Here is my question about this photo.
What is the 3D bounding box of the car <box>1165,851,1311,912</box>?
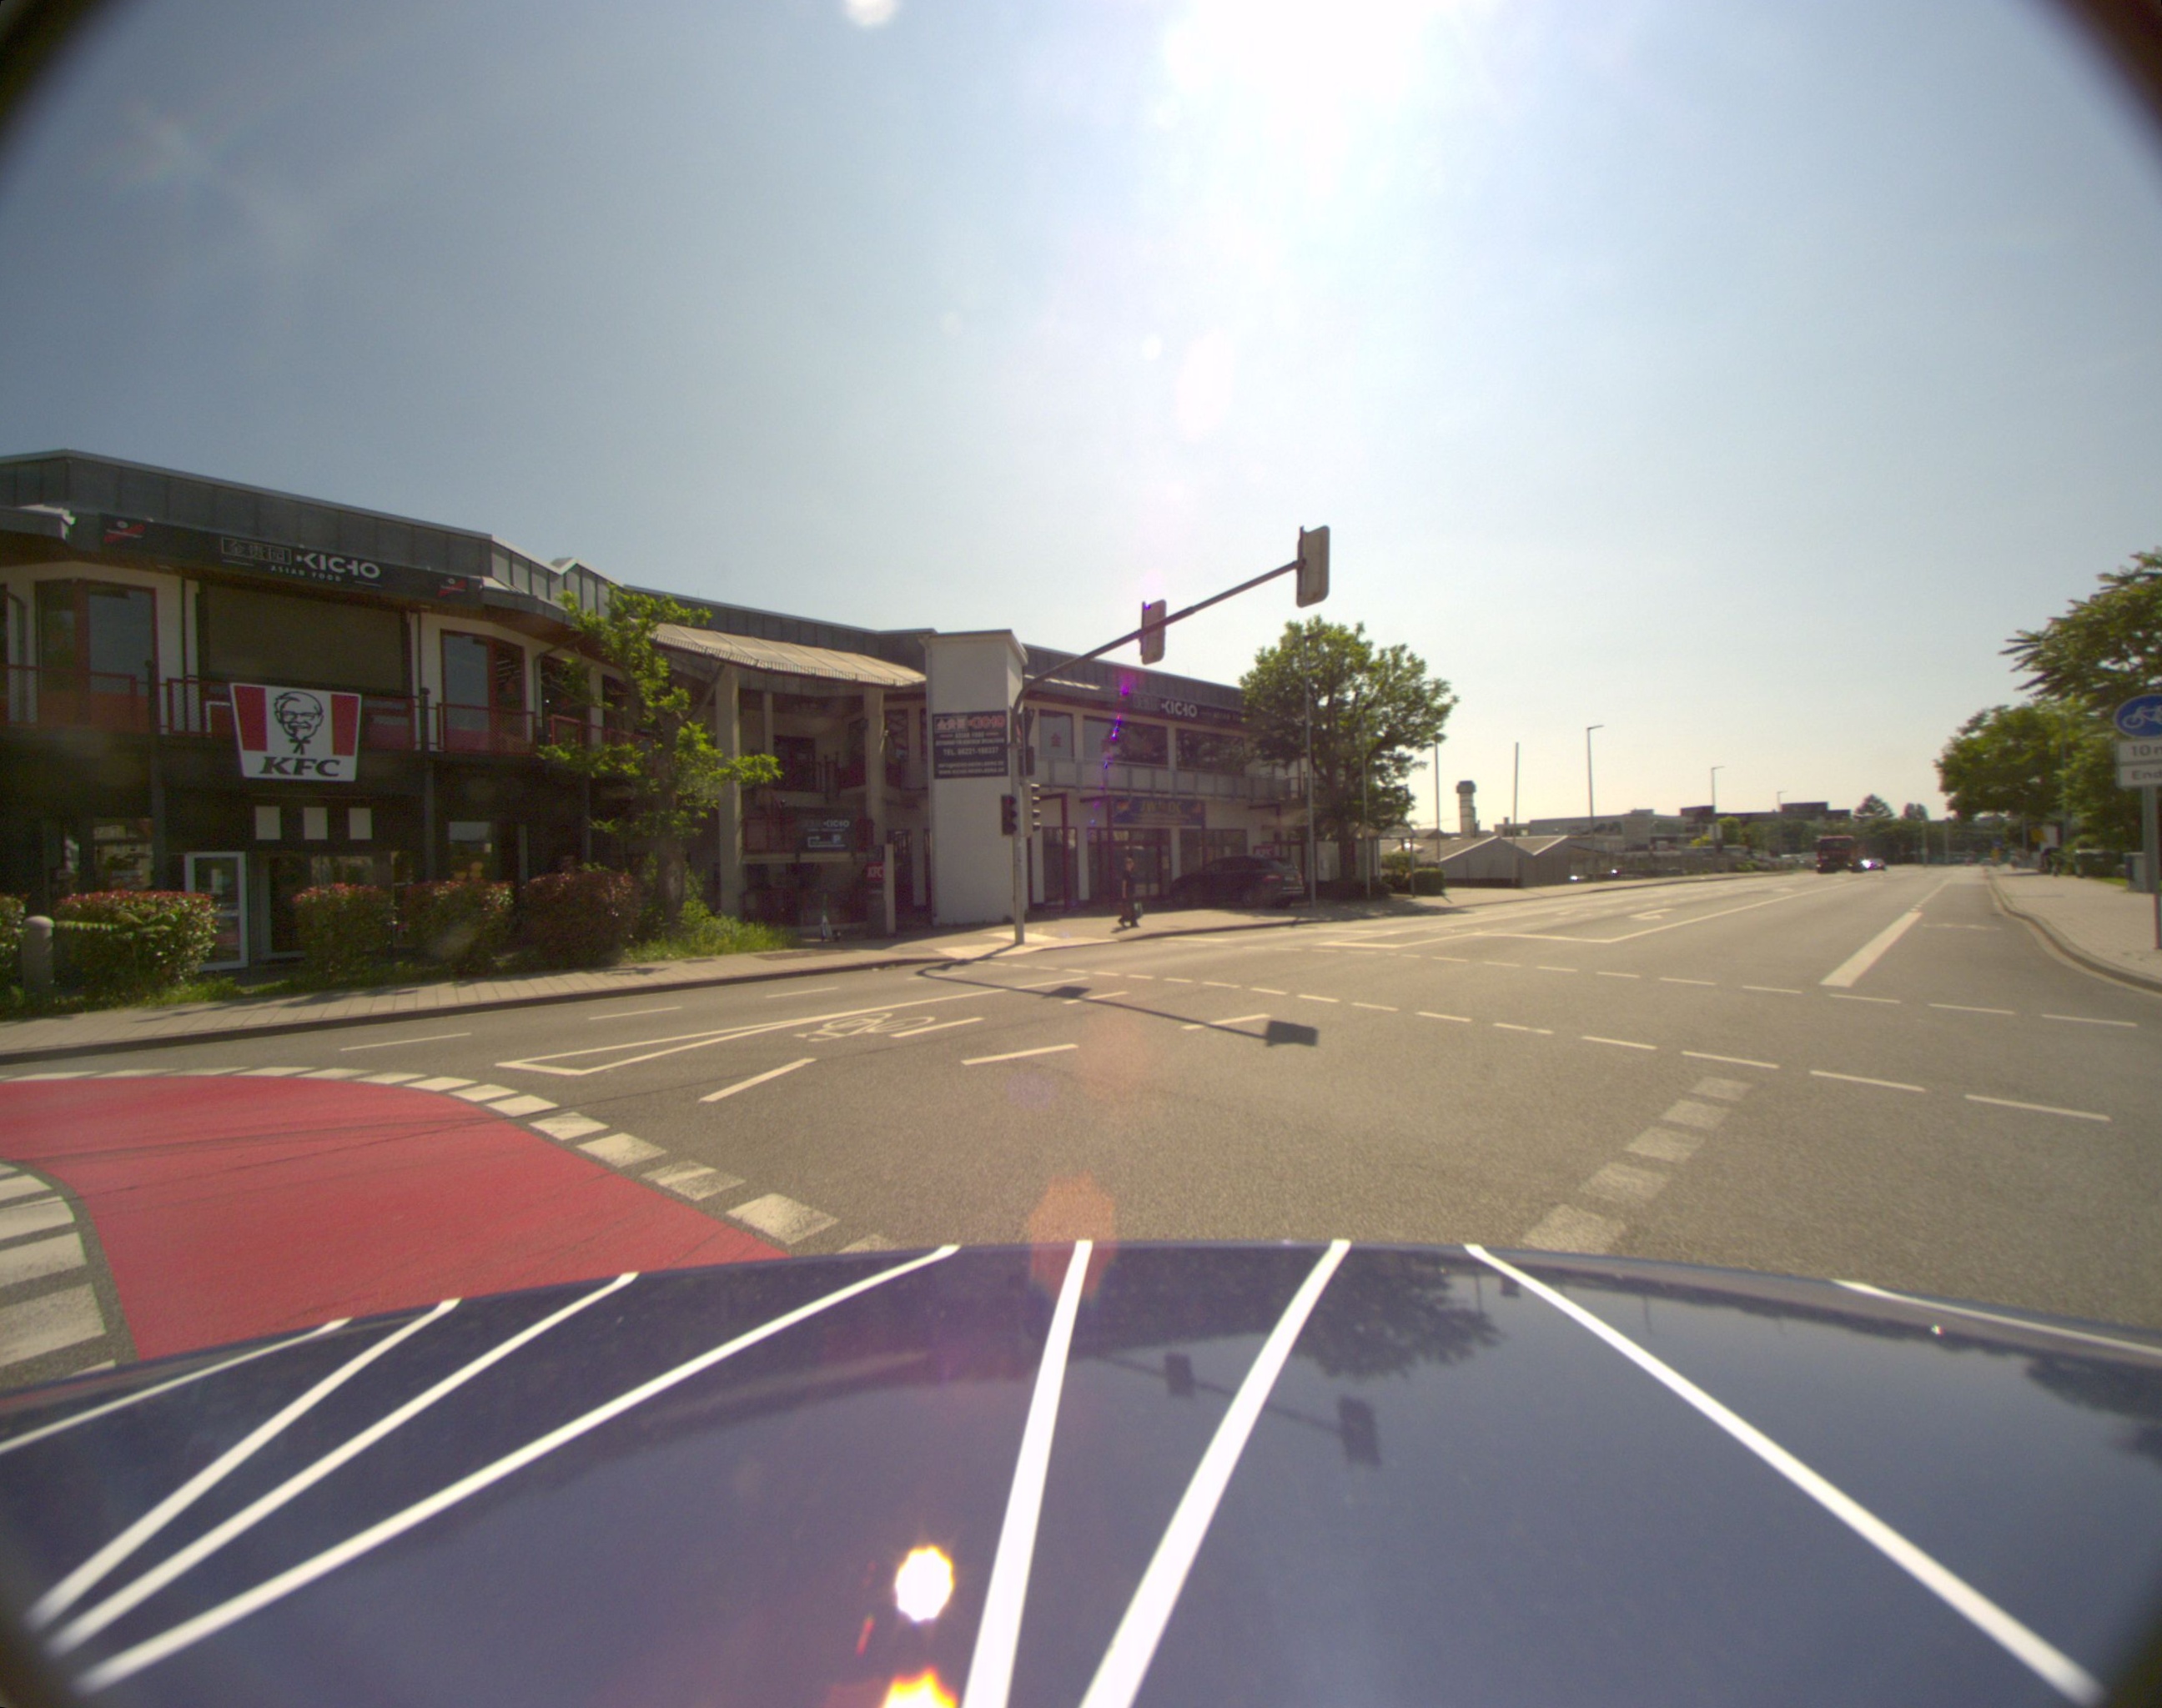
[{"bbox_3d":[5.197,0.889,25.699,1.812,1.844,4.647,-1,-1,-41],"label":"car"}]

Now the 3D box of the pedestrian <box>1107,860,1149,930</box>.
[{"bbox_3d":[1.152,0.977,18.375,0.840,1.636,0.735,-1,0,15],"label":"pedestrian"}]

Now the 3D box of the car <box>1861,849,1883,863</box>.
[{"bbox_3d":[97.177,0.287,93.329,4.008,1.652,1.830,-1,-1,-44],"label":"car"}]

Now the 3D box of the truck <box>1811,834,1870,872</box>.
[{"bbox_3d":[71.695,-0.126,71.655,9.186,3.366,3.305,-1,0,-41],"label":"truck"}]

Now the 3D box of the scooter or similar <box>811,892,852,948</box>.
[{"bbox_3d":[-5.464,1.409,16.603,0.501,1.117,1.501,-1,0,-32],"label":"scooter or similar"}]

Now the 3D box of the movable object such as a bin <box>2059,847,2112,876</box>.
[{"bbox_3d":[49.796,0.364,37.686,1.459,1.402,1.465,-1,0,-41],"label":"movable object such as a bin"}]
